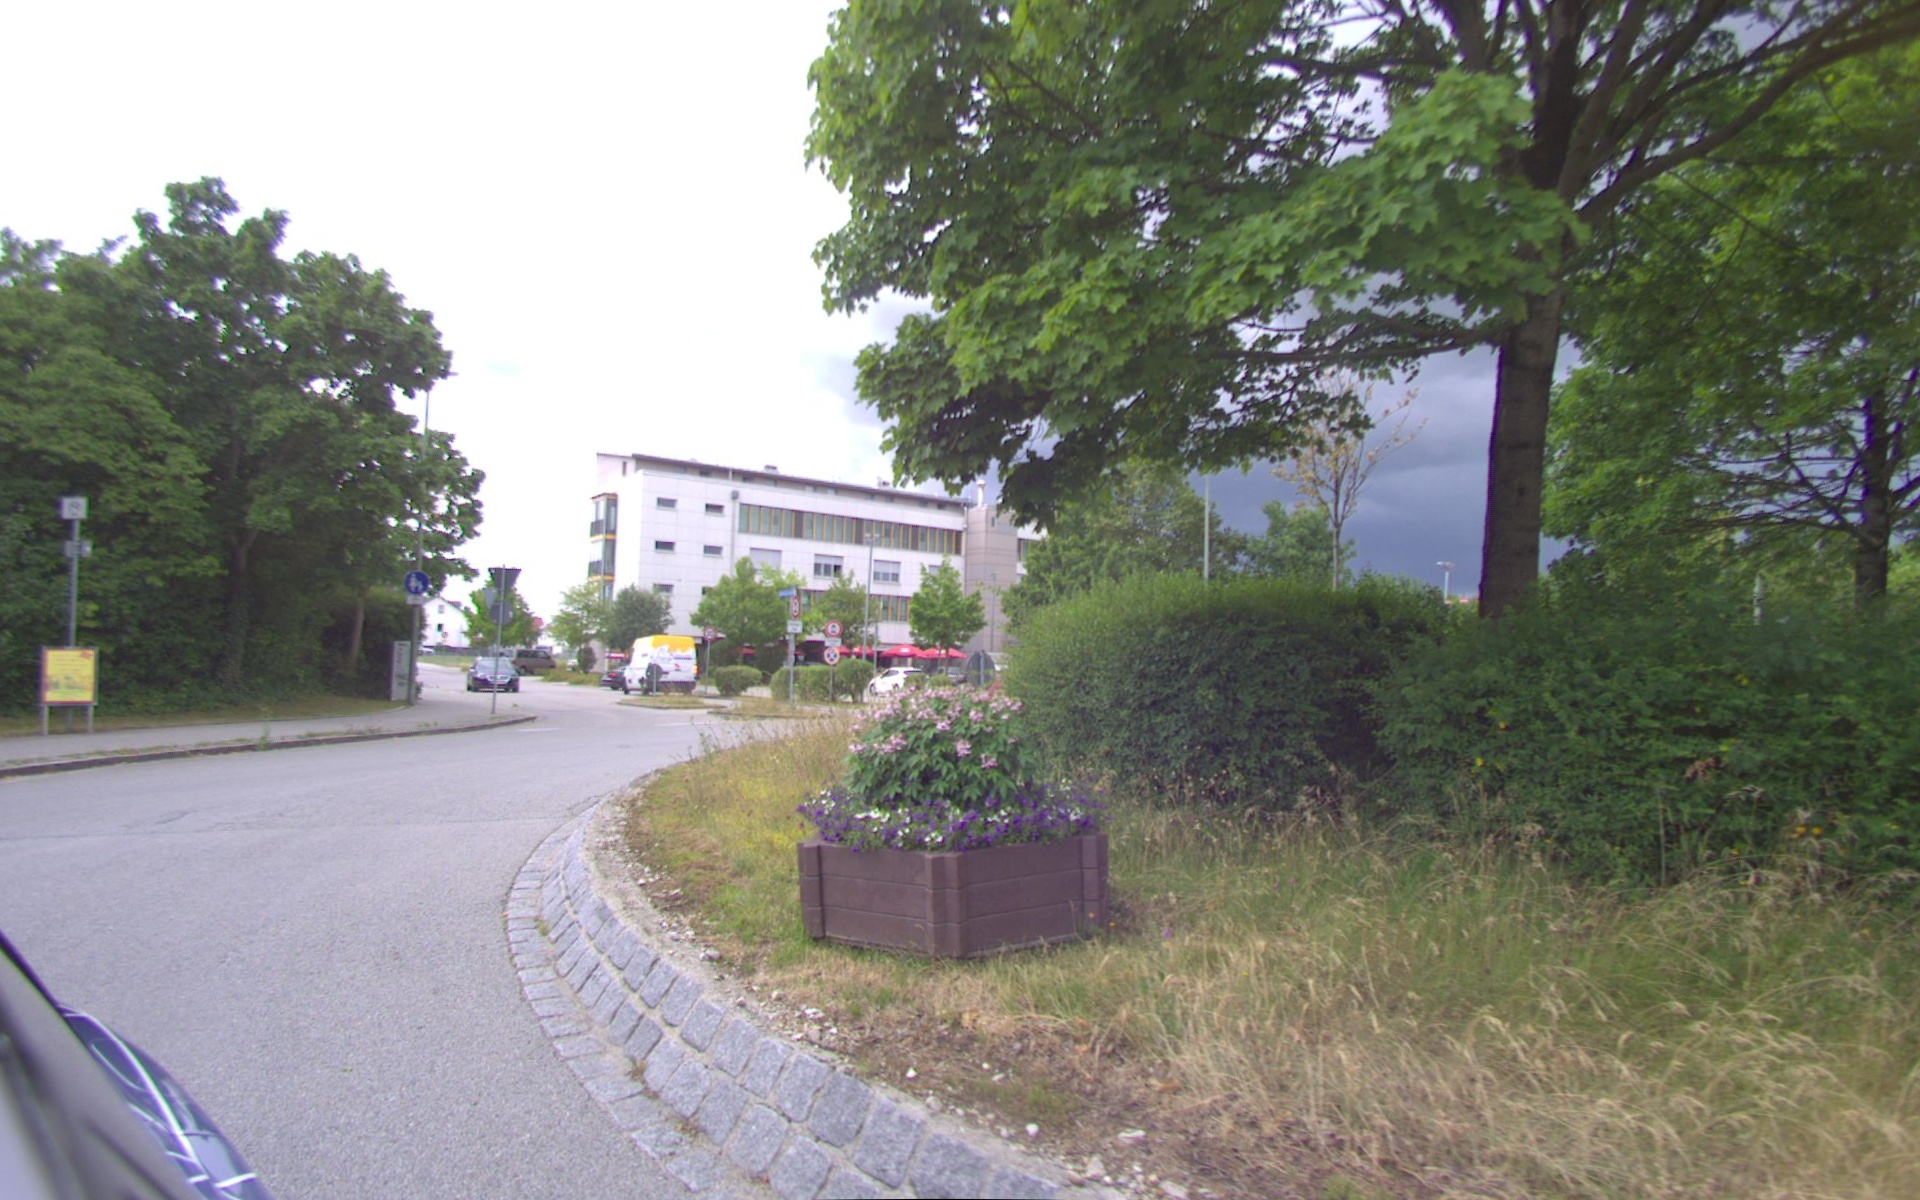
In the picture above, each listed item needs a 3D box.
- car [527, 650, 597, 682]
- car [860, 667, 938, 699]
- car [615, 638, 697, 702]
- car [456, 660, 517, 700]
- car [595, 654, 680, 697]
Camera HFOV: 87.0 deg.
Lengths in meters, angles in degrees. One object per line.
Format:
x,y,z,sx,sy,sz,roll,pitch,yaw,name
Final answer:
-26.474,4.400,67.352,3.933,2.029,2.005,4,-5,-34,car
-3.064,4.074,50.080,1.916,1.408,4.526,-1,-3,-32,car
-12.828,2.929,42.469,2.152,2.475,4.526,-1,-3,-32,car
-20.122,3.369,42.938,1.840,1.516,4.143,-1,-3,-32,car
-16.310,3.816,51.239,3.931,2.029,2.006,3,-4,-17,car
